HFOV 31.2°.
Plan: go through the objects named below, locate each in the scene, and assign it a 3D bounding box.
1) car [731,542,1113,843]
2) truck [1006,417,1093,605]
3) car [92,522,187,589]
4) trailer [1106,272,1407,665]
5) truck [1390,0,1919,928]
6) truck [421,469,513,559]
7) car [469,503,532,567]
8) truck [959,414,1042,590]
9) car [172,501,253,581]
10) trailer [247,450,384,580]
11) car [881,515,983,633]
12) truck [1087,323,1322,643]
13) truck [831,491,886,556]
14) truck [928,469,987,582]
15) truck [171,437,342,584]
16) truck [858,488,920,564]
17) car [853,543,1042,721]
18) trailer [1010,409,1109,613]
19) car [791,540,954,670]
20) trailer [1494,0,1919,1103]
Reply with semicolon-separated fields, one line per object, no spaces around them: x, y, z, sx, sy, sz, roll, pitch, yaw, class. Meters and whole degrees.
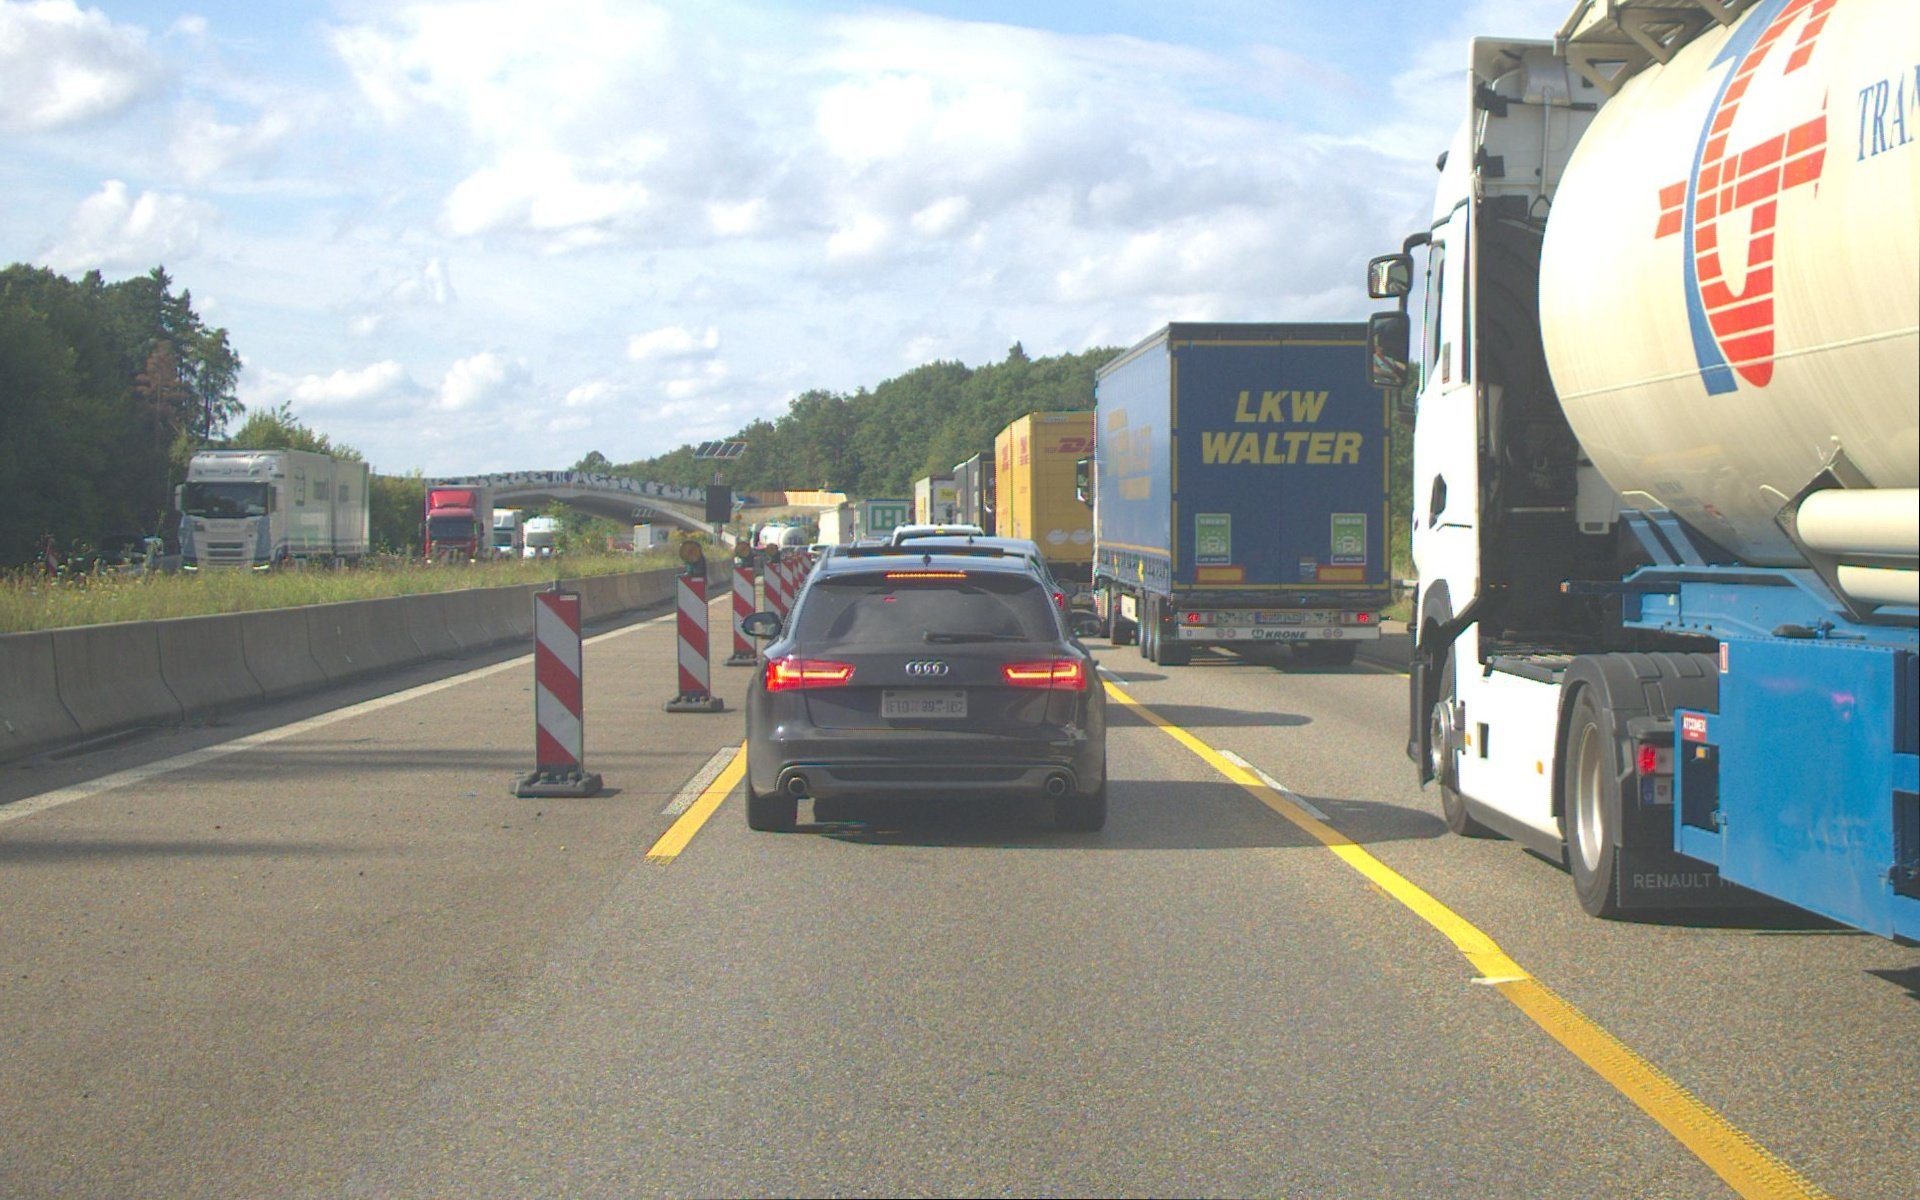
-0.199;0.429;18.704;1.848;1.458;4.000;0;1;0;car
1.883;-1.865;73.471;1.609;3.883;4.072;1;0;-1;truck
-25.329;-1.357;106.219;1.993;2.007;4.000;1;1;0;car
3.578;-1.539;44.106;2.805;4.398;10.433;1;1;-1;trailer
3.724;-0.770;15.835;2.659;3.958;5.779;1;0;-1;truck
-22.818;-3.965;159.639;2.800;3.978;10.186;1;1;0;truck
-24.985;-3.511;187.147;2.487;3.358;7.453;1;1;-1;car
1.127;-2.830;100.927;1.993;4.897;9.563;1;1;-2;truck
-25.209;-1.973;116.074;2.250;2.634;5.021;1;1;-8;car
-20.307;-2.626;108.768;2.790;3.910;8.489;1;1;-1;trailer
-0.453;-0.424;55.819;1.581;1.830;3.112;1;1;0;car
3.510;-1.648;51.231;2.806;4.354;7.792;1;1;-1;truck
-6.739;-5.015;226.658;3.303;4.160;9.704;0;1;-3;truck
-0.141;-2.835;132.677;2.137;4.243;7.072;1;1;-1;truck
-20.142;-2.496;99.047;2.782;3.971;10.863;1;1;-1;truck
-4.106;-4.184;196.061;3.304;4.160;9.703;0;1;-2;truck
-0.114;0.245;29.804;1.524;1.434;3.285;1;1;0;car
1.963;-1.749;69.392;1.616;3.905;6.490;1;1;-1;trailer
-0.967;0.038;39.160;1.751;1.392;3.608;1;1;0;car
3.789;-0.671;9.021;2.644;3.929;12.598;1;1;-1;trailer
